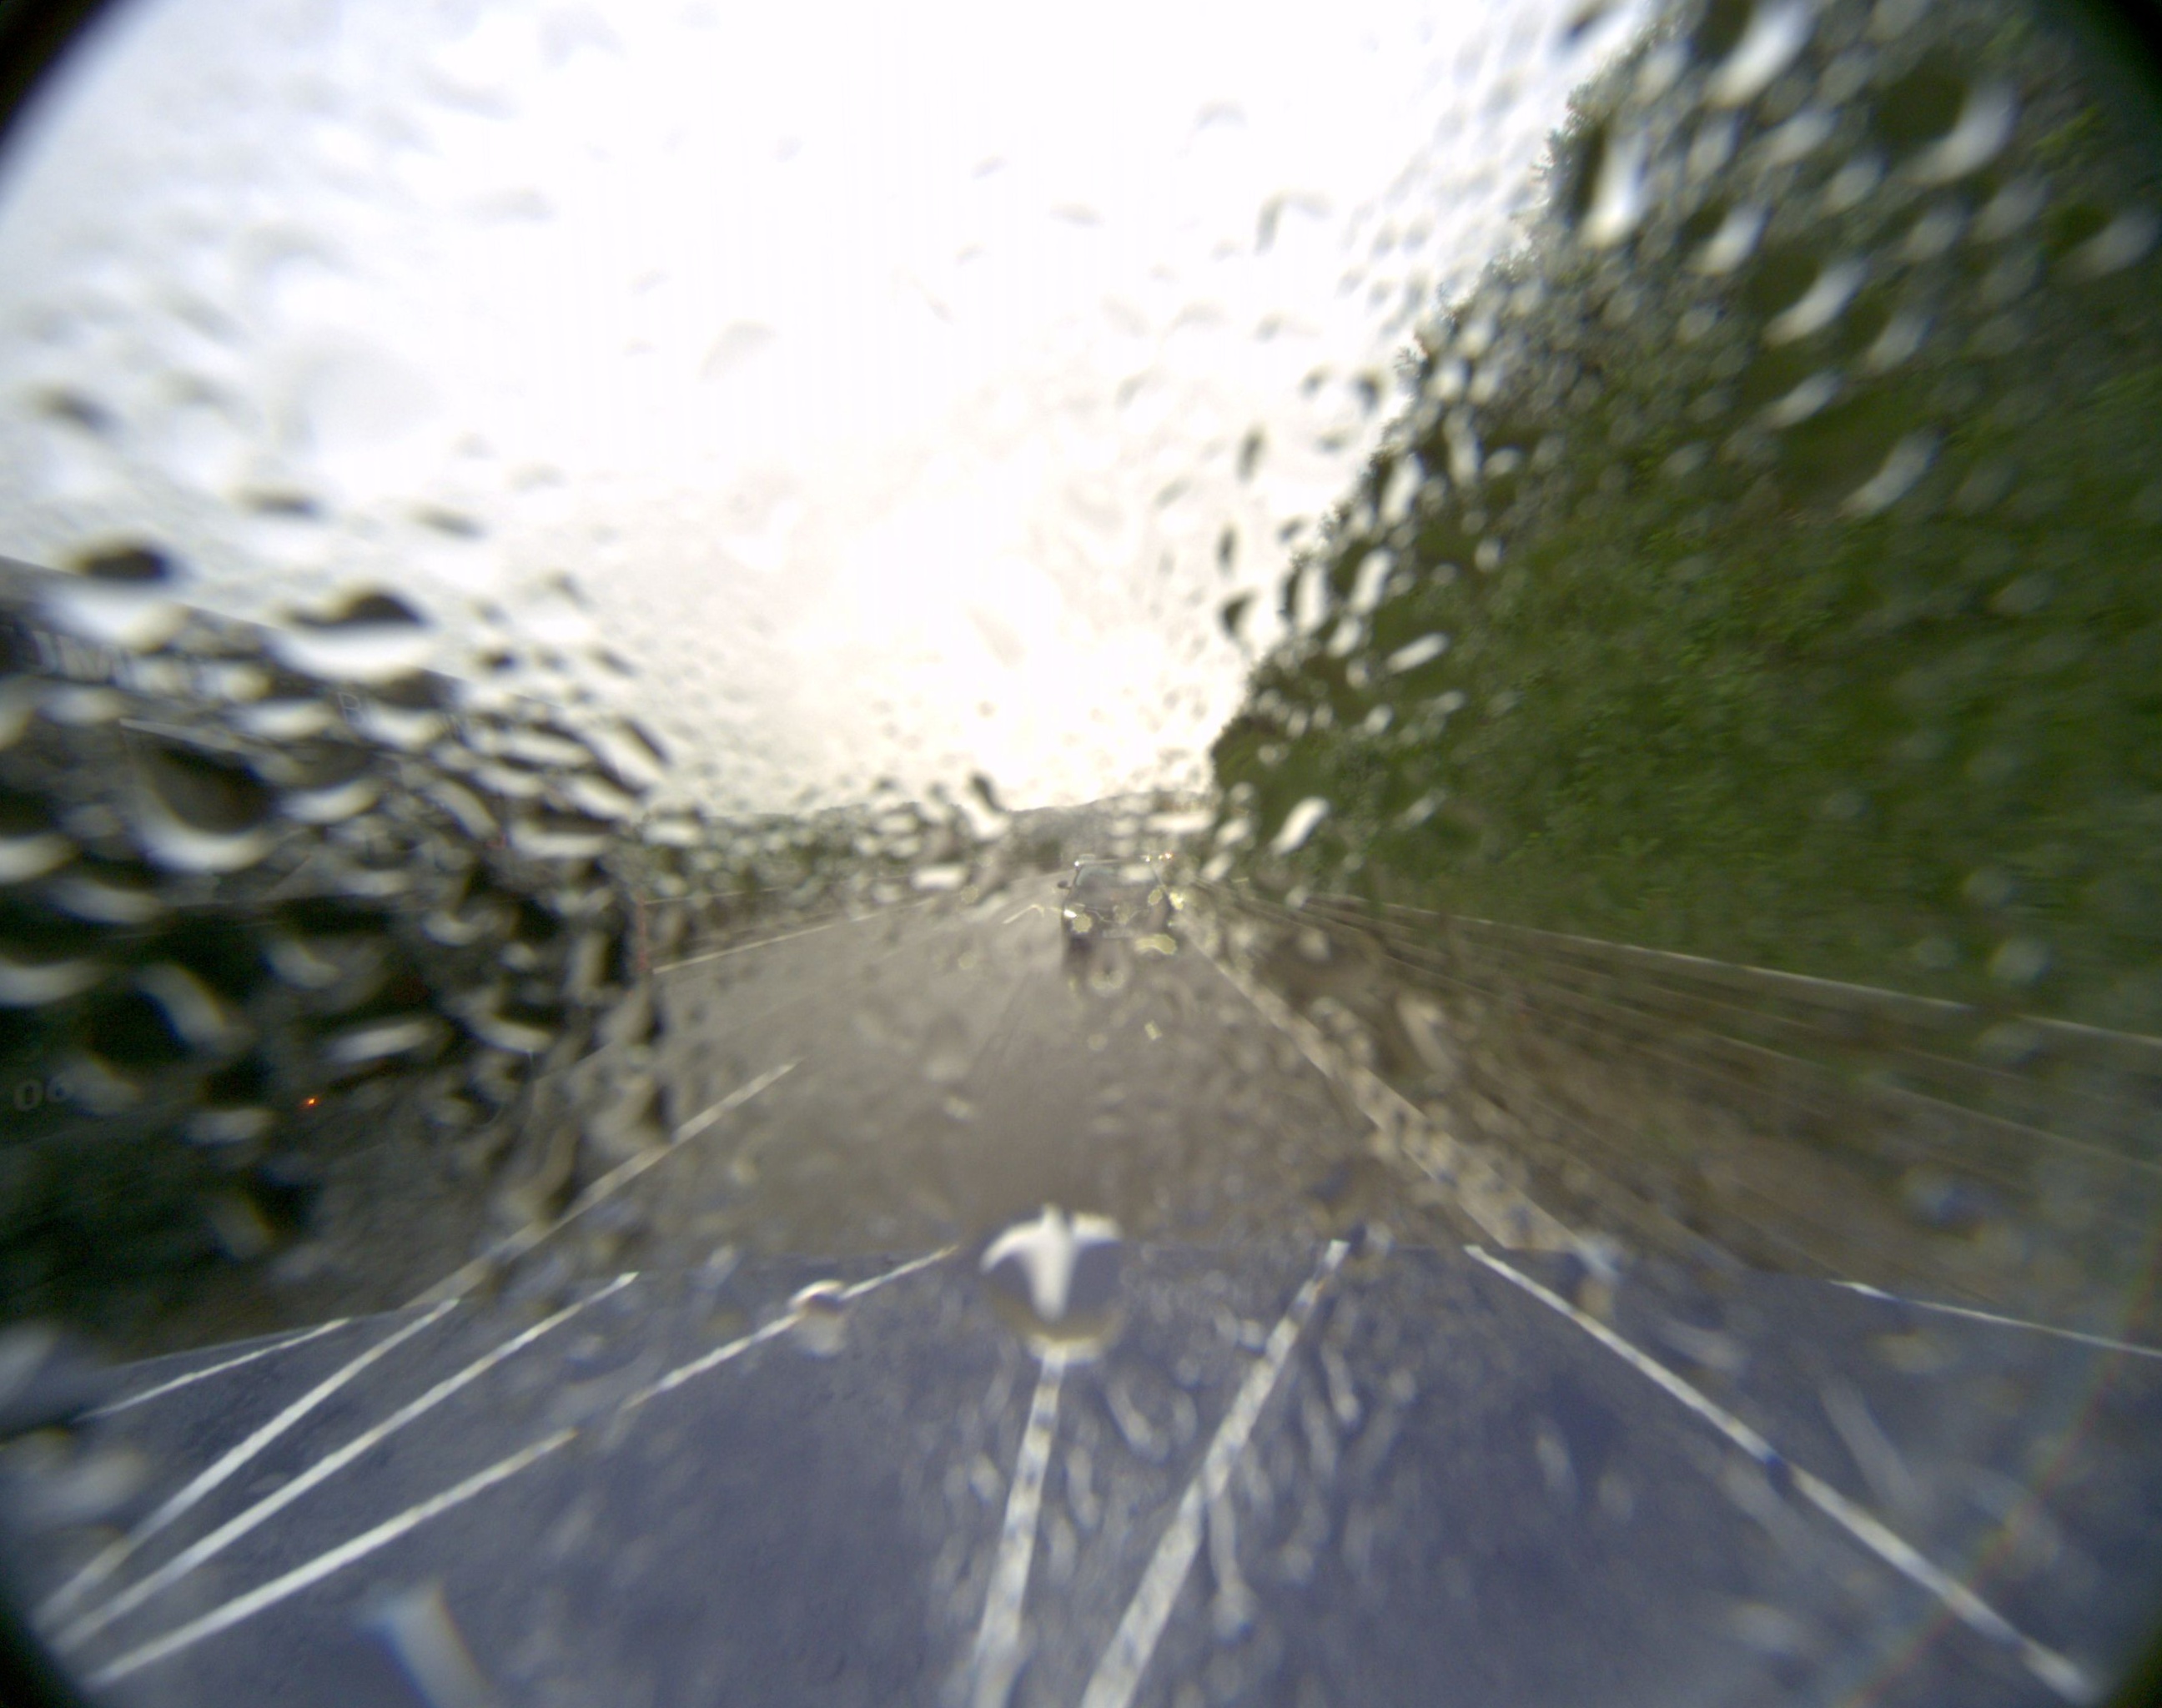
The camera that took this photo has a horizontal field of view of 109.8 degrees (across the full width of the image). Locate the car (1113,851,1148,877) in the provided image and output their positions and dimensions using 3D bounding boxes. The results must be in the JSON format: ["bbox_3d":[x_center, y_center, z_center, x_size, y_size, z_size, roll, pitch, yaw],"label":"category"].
[{"bbox_3d":[2.802,0.533,42.257,1.712,1.316,3.946,-3,0,6],"label":"car"}]

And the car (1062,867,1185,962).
[{"bbox_3d":[0.719,0.956,13.604,1.839,1.316,4.135,-1,0,2],"label":"car"}]

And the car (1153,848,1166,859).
[{"bbox_3d":[11.209,-0.076,108.922,1.657,1.535,3.665,-2,0,5],"label":"car"}]

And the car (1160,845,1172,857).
[{"bbox_3d":[13.792,-0.484,123.026,1.591,1.895,3.754,-2,0,3],"label":"car"}]

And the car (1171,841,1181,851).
[{"bbox_3d":[19.734,-1.645,158.292,1.908,2.002,4.001,-2,1,6],"label":"car"}]

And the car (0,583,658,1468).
[{"bbox_3d":[-4.039,0.496,1.948,1.998,2.480,6.704,-1,0,1],"label":"car"}]

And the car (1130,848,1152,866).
[{"bbox_3d":[5.710,0.236,71.680,1.905,1.545,4.566,-2,0,6],"label":"car"}]

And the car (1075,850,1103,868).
[{"bbox_3d":[0.777,0.438,67.892,1.989,1.407,4.566,-2,0,7],"label":"car"}]
